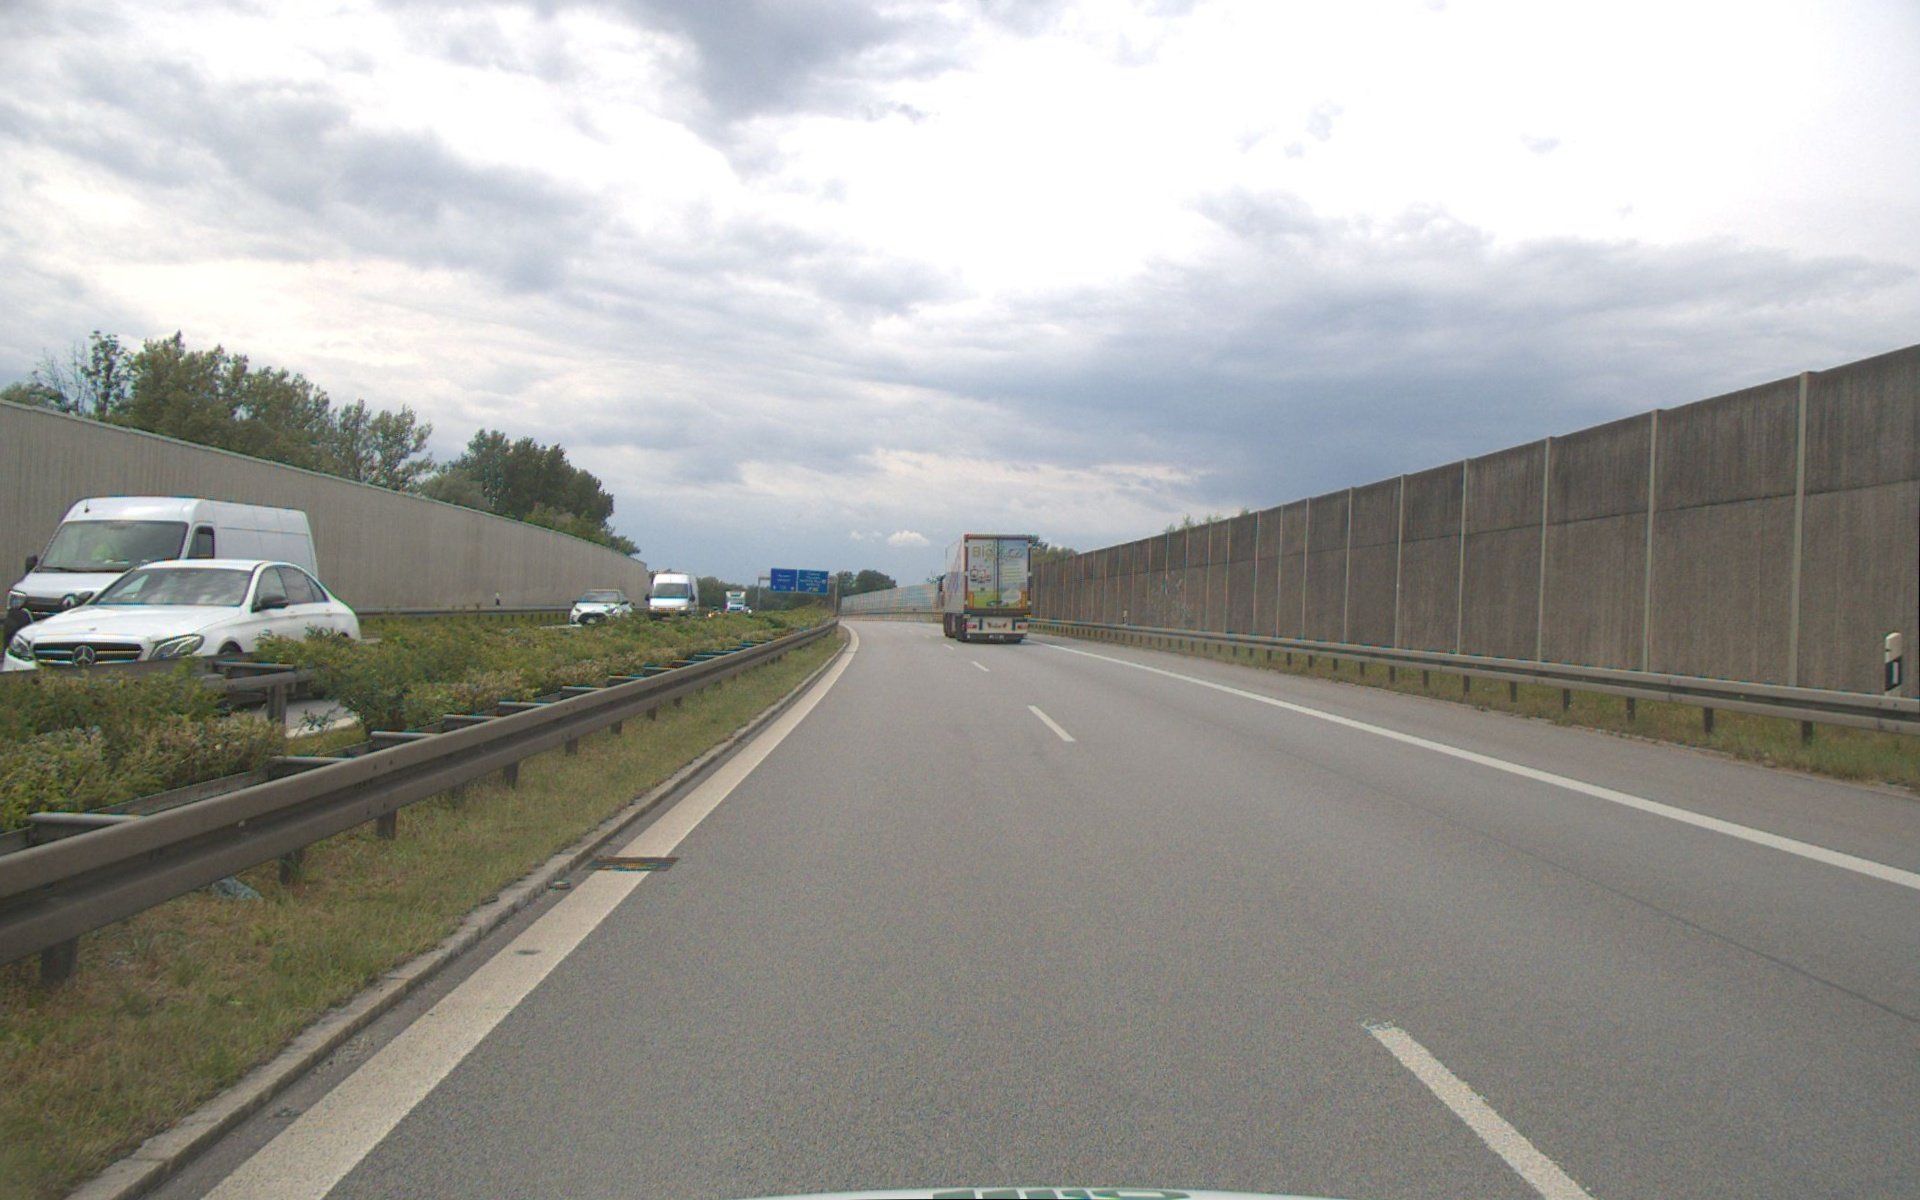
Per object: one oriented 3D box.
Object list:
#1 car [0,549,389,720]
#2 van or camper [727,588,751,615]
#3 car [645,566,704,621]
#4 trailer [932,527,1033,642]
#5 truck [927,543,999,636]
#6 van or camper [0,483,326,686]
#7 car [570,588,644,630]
[{"bbox_3d":[-7.522,0.297,16.785,1.769,1.439,4.967,1,0,-1],"label":"car"},{"bbox_3d":[-23.710,0.179,177.708,2.210,2.828,5.748,1,0,-5],"label":"van or camper"},{"bbox_3d":[-13.509,-0.299,78.551,2.069,2.498,5.680,0,0,-2],"label":"car"},{"bbox_3d":[0.727,-0.511,68.496,2.738,4.248,14.087,1,-1,-5],"label":"trailer"},{"bbox_3d":[0.098,-0.442,74.880,2.702,4.029,5.670,1,-1,-5],"label":"truck"},{"bbox_3d":[-11.033,-0.200,23.435,1.954,2.484,6.305,0,0,-3],"label":"van or camper"},{"bbox_3d":[-12.349,0.289,58.098,1.827,1.427,4.497,0,0,-2],"label":"car"}]
